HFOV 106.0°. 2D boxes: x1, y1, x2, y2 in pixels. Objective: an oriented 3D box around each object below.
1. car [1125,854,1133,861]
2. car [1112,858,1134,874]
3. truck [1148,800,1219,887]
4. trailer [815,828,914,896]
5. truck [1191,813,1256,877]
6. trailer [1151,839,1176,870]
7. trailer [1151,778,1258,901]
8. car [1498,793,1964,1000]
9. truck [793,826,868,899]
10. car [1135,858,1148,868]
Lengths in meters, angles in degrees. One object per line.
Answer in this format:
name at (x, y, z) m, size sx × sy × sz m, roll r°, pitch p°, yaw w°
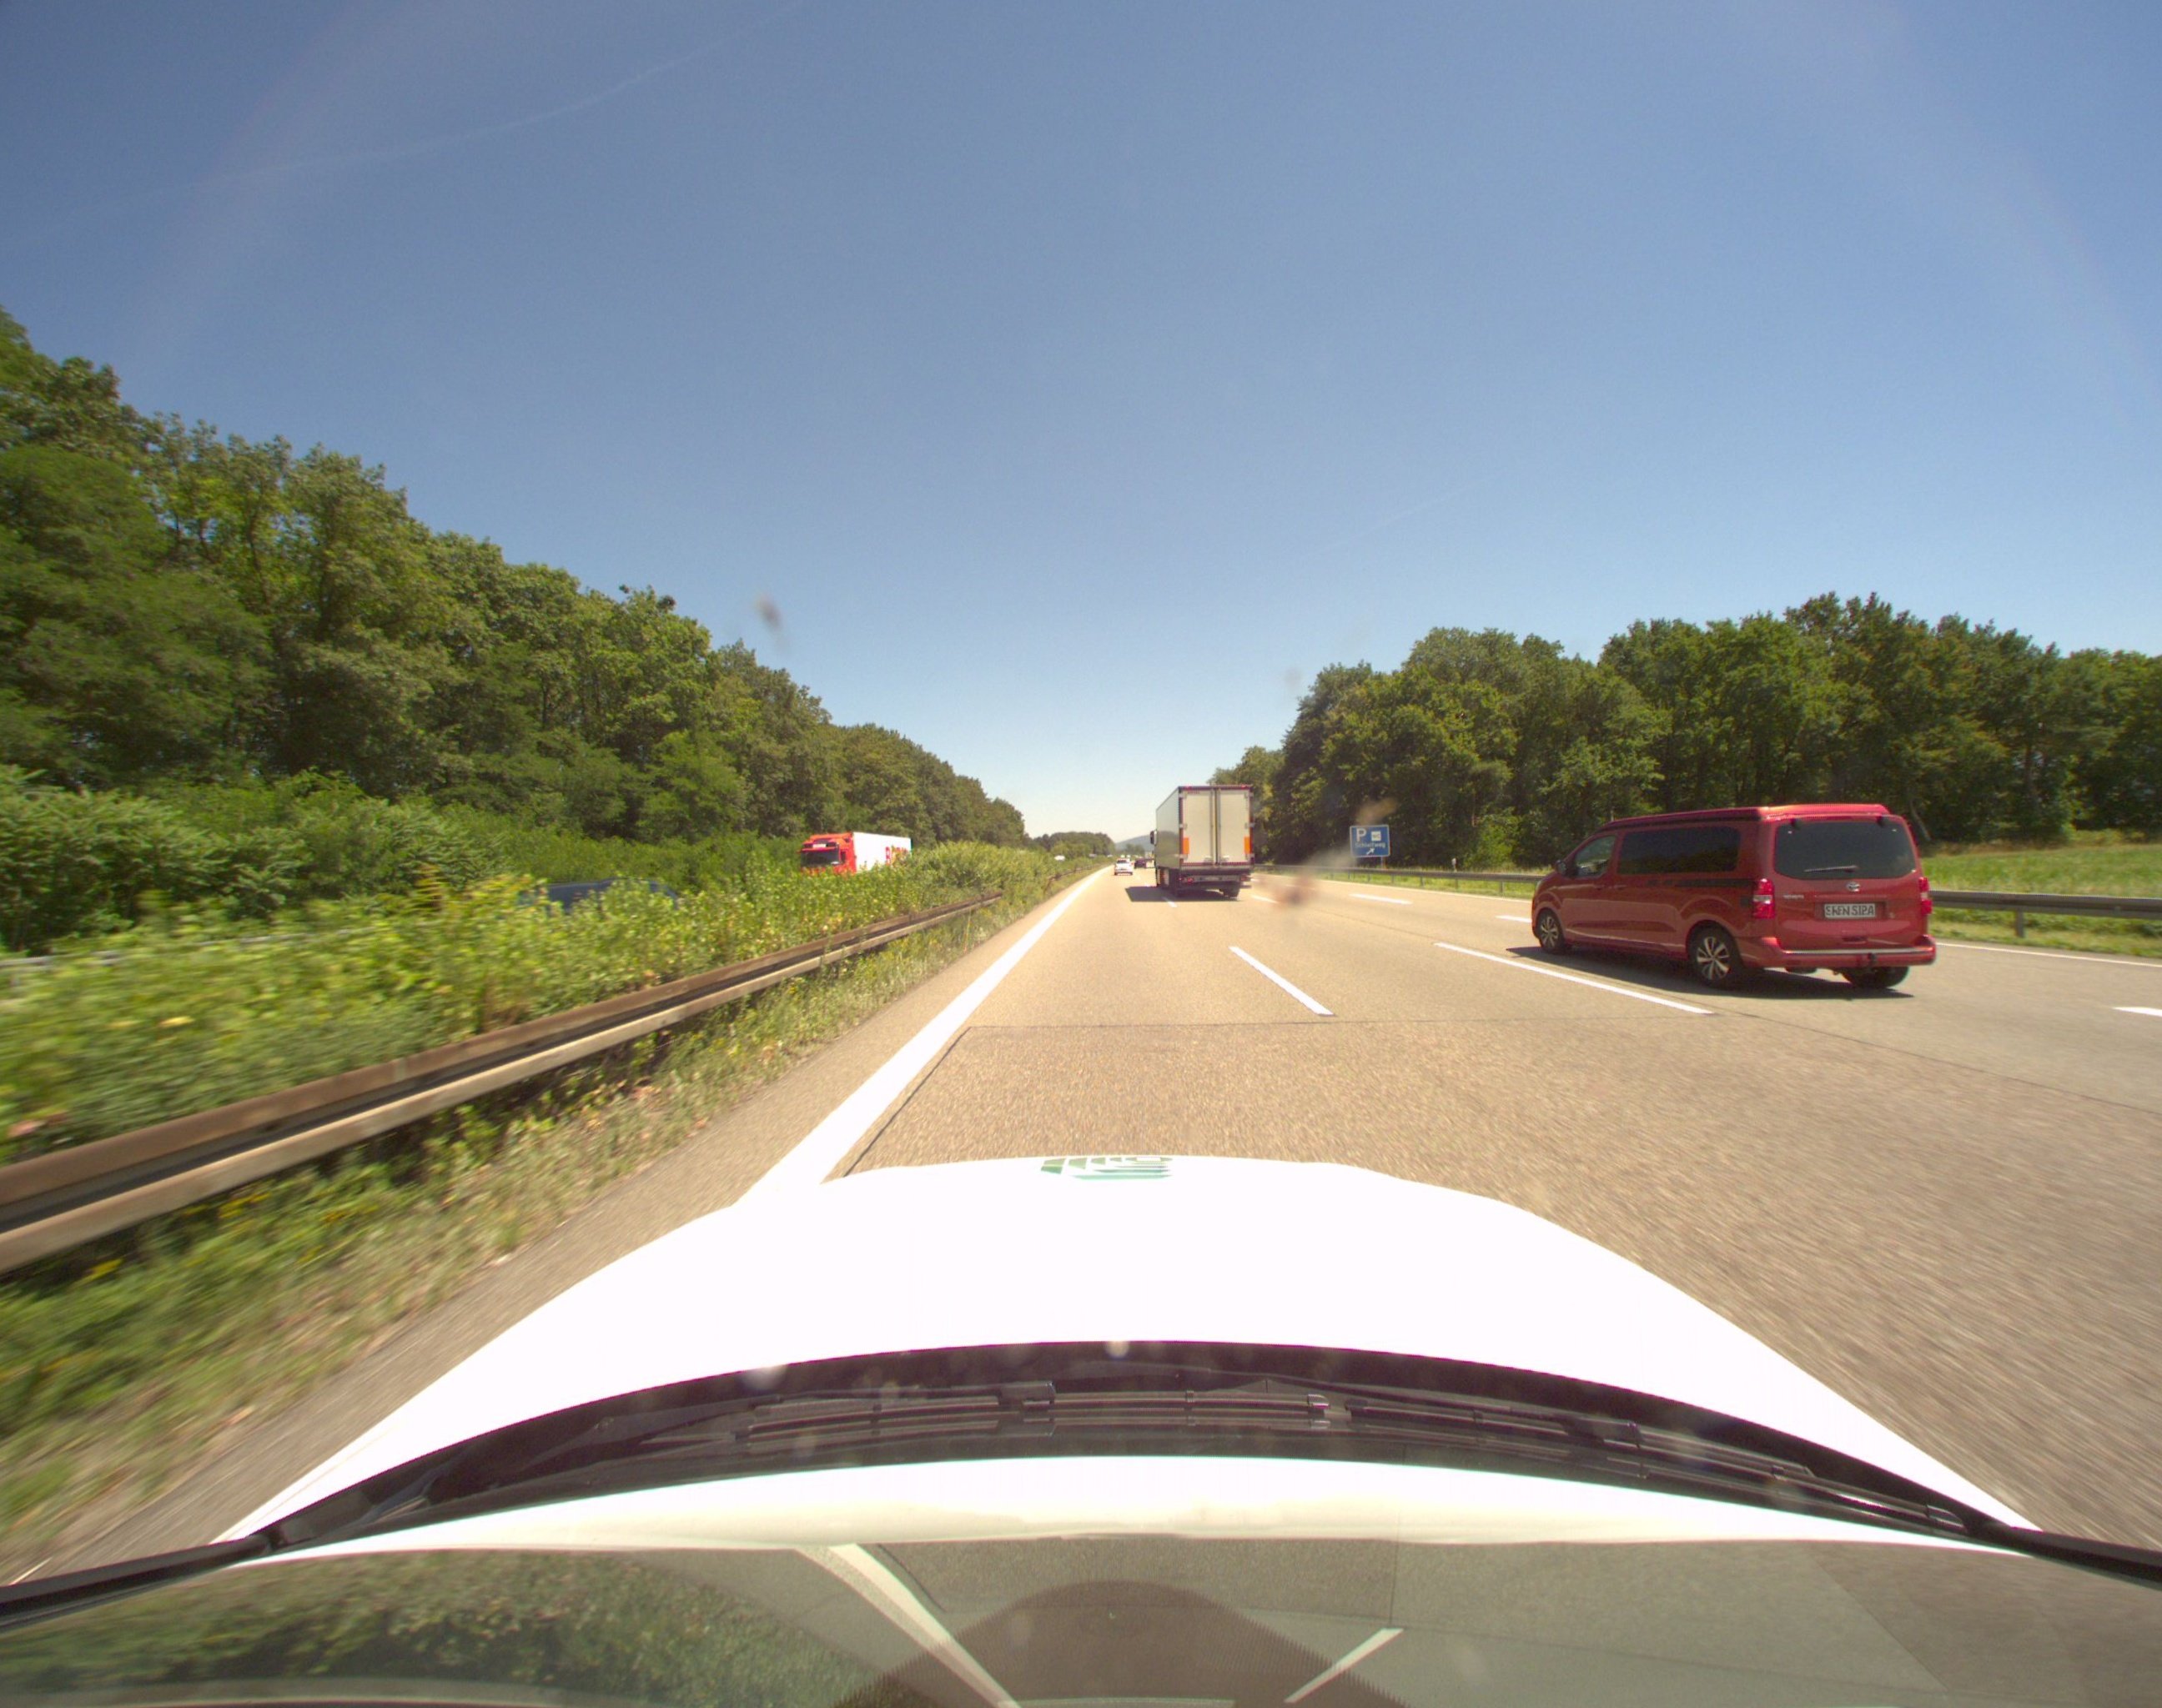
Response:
car at (14.612, 1.027, 249.054) m, size 2.100 × 2.013 × 4.000 m, roll -2°, pitch 0°, yaw 0°
car at (3.923, 1.106, 76.109) m, size 1.806 × 1.405 × 3.315 m, roll -2°, pitch 0°, yaw -1°
truck at (5.222, -0.512, 42.141) m, size 3.215 × 4.157 × 4.563 m, roll -2°, pitch 0°, yaw 3°
trailer at (-14.413, 0.481, 55.674) m, size 2.910 × 4.050 × 12.918 m, roll -1°, pitch 0°, yaw 1°
truck at (10.692, -0.623, 62.213) m, size 3.212 × 4.345 × 10.809 m, roll -2°, pitch 0°, yaw 1°
trailer at (13.141, 0.058, 130.500) m, size 3.169 × 4.627 × 12.059 m, roll -2°, pitch 0°, yaw 3°
trailer at (4.784, -0.500, 34.337) m, size 3.210 × 4.143 × 12.362 m, roll -2°, pitch 0°, yaw 3°
car at (7.767, 0.427, 10.735) m, size 1.849 × 2.003 × 5.524 m, roll -1°, pitch 0°, yaw 2°
truck at (-14.599, 0.475, 47.782) m, size 2.910 × 4.050 × 4.296 m, roll -1°, pitch 0°, yaw 1°
car at (8.834, 1.289, 119.027) m, size 1.659 × 1.289 × 4.007 m, roll -2°, pitch 0°, yaw 6°
